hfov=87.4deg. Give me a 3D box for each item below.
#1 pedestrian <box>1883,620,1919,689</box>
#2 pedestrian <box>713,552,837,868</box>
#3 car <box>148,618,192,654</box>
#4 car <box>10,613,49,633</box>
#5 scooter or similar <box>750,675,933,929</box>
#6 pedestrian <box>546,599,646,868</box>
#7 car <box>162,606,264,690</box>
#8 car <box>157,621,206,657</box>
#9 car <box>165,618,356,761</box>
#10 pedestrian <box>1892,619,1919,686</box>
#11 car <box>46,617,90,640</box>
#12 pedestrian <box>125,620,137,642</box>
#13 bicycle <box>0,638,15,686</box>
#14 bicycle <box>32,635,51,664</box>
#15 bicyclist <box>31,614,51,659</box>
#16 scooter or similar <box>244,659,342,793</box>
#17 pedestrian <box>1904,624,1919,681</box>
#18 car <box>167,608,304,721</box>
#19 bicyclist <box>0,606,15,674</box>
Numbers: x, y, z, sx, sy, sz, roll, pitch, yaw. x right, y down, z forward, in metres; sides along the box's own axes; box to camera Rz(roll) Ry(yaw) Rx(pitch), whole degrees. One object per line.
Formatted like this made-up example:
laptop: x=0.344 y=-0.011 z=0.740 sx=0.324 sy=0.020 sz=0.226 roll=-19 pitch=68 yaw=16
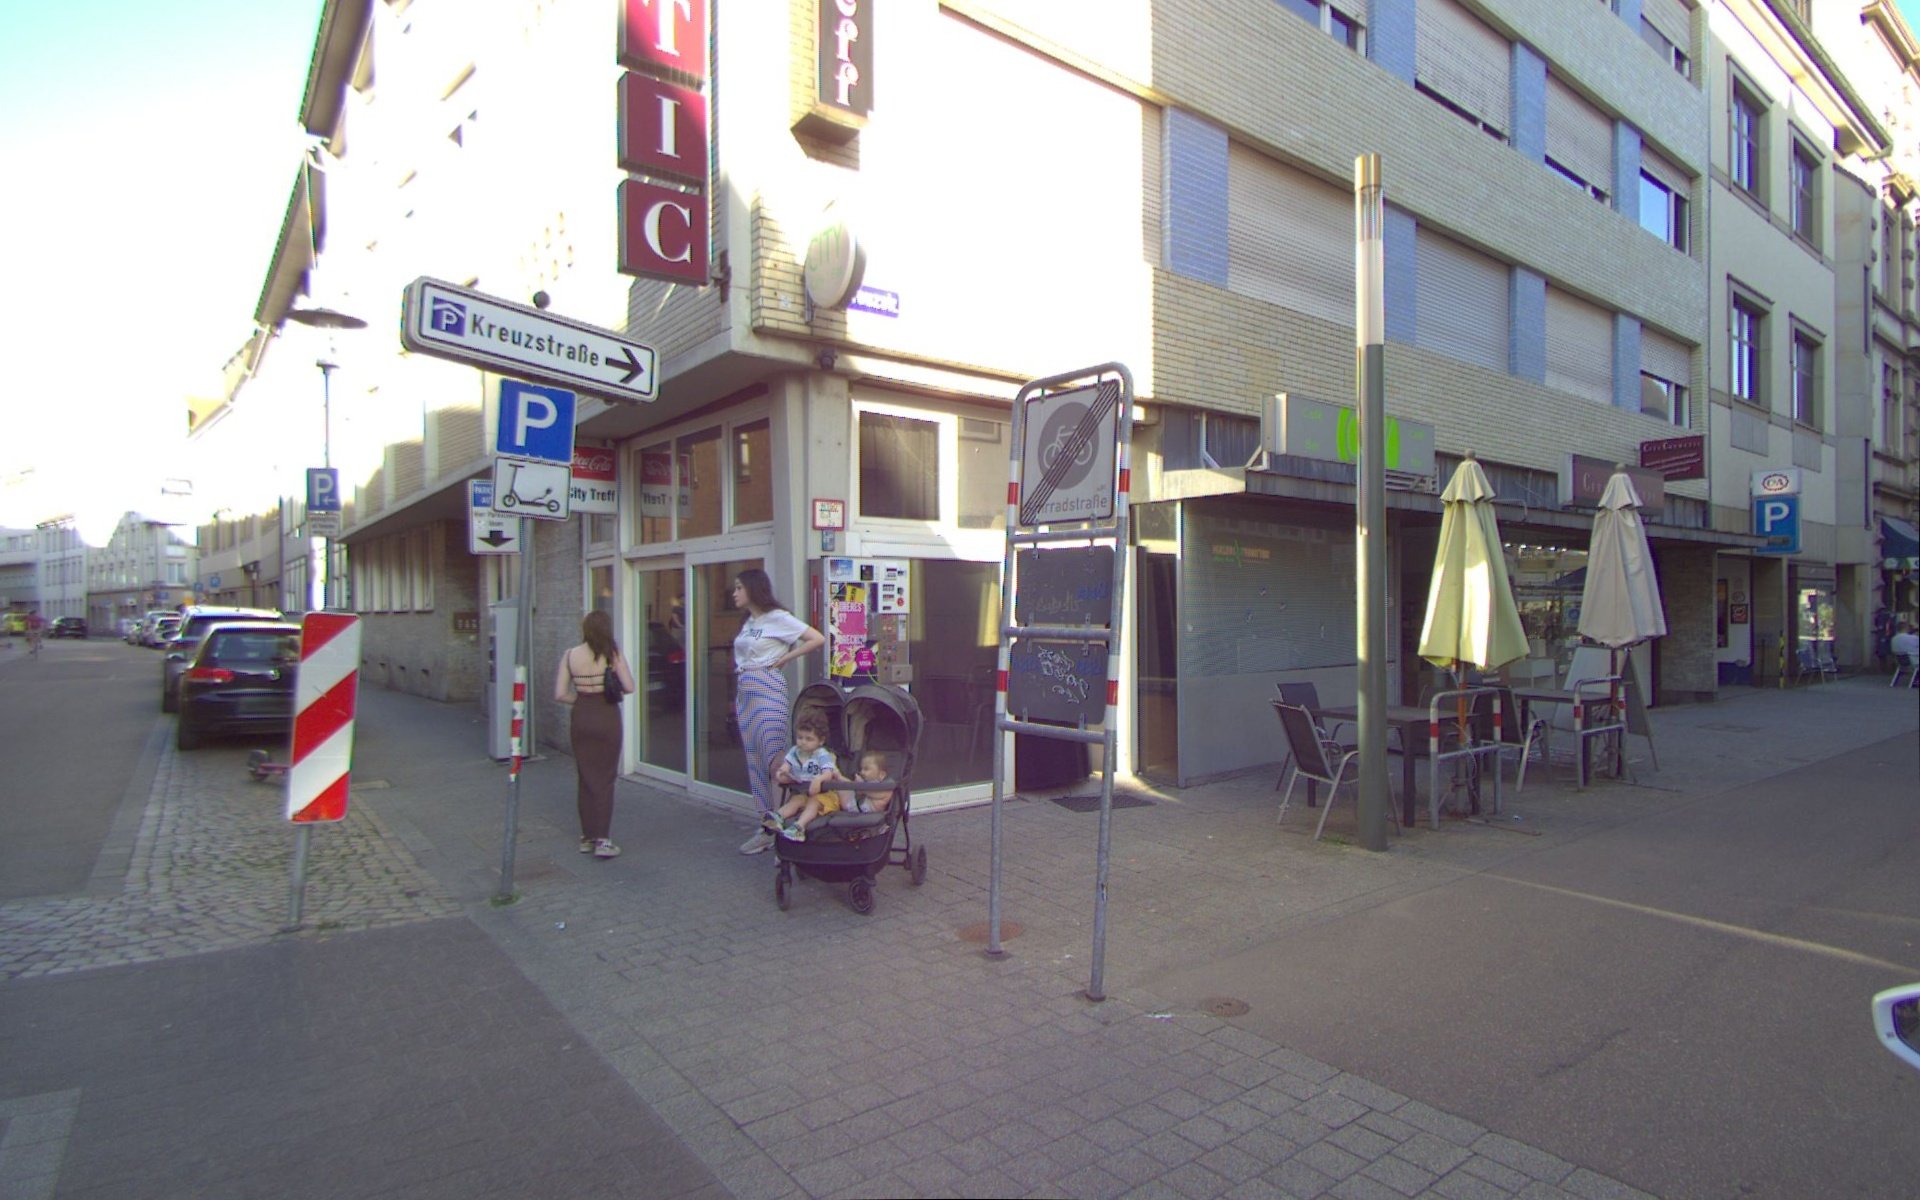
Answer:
pedestrian: x=19.296 y=1.096 z=20.449 sx=0.700 sy=1.386 sz=0.716 roll=-1 pitch=-1 yaw=41
pedestrian: x=-1.139 y=0.652 z=6.275 sx=0.648 sy=1.844 sz=0.570 roll=-3 pitch=1 yaw=-8
car: x=-41.612 y=1.875 z=52.863 sx=1.680 sy=1.798 sz=3.614 roll=3 pitch=-3 yaw=-40
car: x=-80.846 y=2.021 z=87.264 sx=3.777 sy=1.673 sz=1.928 roll=-1 pitch=-2 yaw=38
scooter or similar: x=-0.591 y=1.016 z=5.362 sx=0.783 sy=1.159 sz=0.954 roll=-1 pitch=0 yaw=5
pedestrian: x=-2.313 y=0.808 z=6.391 sx=0.503 sy=1.601 sz=0.531 roll=-3 pitch=1 yaw=-21
car: x=-16.872 y=1.064 z=22.681 sx=1.659 sy=1.727 sz=3.969 roll=3 pitch=-3 yaw=-38
car: x=-37.653 y=1.875 z=48.556 sx=1.680 sy=1.701 sz=3.467 roll=3 pitch=-3 yaw=-40
car: x=-8.998 y=1.028 z=12.845 sx=1.726 sy=1.505 sz=3.770 roll=3 pitch=-2 yaw=-38
pedestrian: x=20.079 y=1.092 z=21.089 sx=0.709 sy=1.386 sz=0.706 roll=-1 pitch=-1 yaw=41
car: x=-68.395 y=2.151 z=77.008 sx=3.777 sy=1.673 sz=1.927 roll=-1 pitch=-1 yaw=38
pedestrian: x=-55.590 y=2.059 z=67.359 sx=0.467 sy=1.499 sz=0.568 roll=-1 pitch=-1 yaw=44
bicycle: x=-22.751 y=1.458 z=23.552 sx=0.568 sy=1.065 sz=1.818 roll=-3 pitch=1 yaw=-35
bicycle: x=-31.745 y=1.691 z=34.707 sx=0.433 sy=0.969 sz=1.572 roll=0 pitch=-1 yaw=-41
bicyclist: x=-31.803 y=1.254 z=34.753 sx=0.425 sy=1.518 sz=0.865 roll=-2 pitch=0 yaw=-40
scooter or similar: x=-6.172 y=1.153 z=9.295 sx=0.864 sy=1.199 sz=0.208 roll=-1 pitch=0 yaw=12
pedestrian: x=21.468 y=1.154 z=22.271 sx=0.826 sy=1.249 sz=0.757 roll=0 pitch=-1 yaw=-45
car: x=-12.345 y=1.030 z=17.057 sx=1.659 sy=1.683 sz=4.037 roll=3 pitch=-3 yaw=-38
bicyclist: x=-22.810 y=0.944 z=23.602 sx=0.643 sy=1.579 sz=1.099 roll=-4 pitch=1 yaw=-34
